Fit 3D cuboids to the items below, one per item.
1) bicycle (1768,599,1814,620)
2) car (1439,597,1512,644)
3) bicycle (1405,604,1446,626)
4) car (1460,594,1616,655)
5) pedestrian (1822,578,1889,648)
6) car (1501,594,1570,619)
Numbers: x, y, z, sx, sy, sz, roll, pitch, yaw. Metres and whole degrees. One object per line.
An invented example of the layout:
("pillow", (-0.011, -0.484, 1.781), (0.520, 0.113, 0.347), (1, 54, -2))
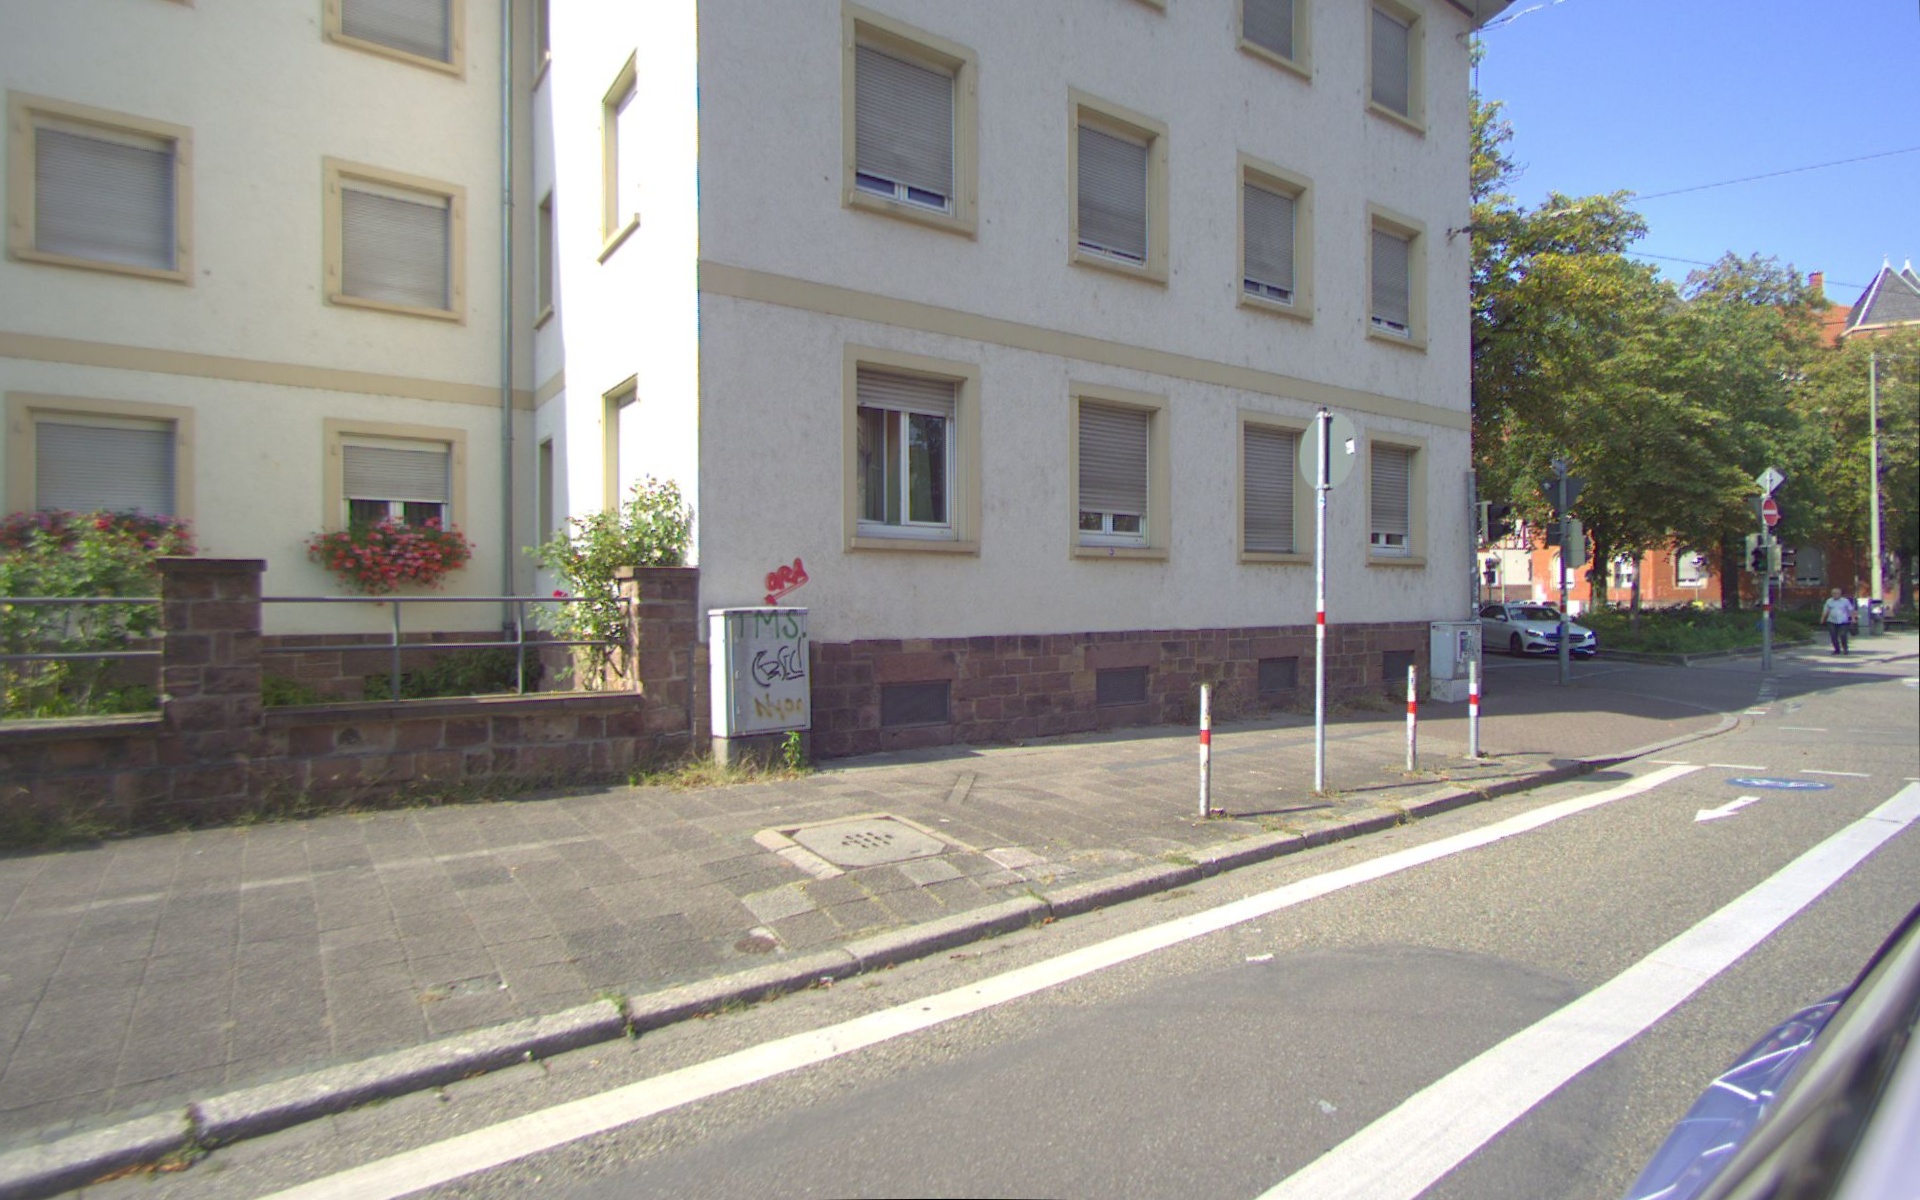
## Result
("bicycle", (45.172, 0.532, 55.043), (1.808, 1.072, 0.607), (-2, -4, 7))
("car", (17.371, 0.658, 34.236), (1.730, 1.470, 3.863), (1, 0, 20))
("bicycle", (24.142, 0.776, 52.504), (0.598, 1.072, 1.864), (0, -1, -44))
("car", (15.970, 0.609, 28.305), (1.844, 1.487, 4.946), (2, 0, 6))
("pedestrian", (23.517, 0.317, 26.584), (0.951, 1.746, 1.080), (0, 2, -36))
("car", (37.652, 0.423, 66.323), (1.588, 1.587, 4.007), (0, 0, -13))
